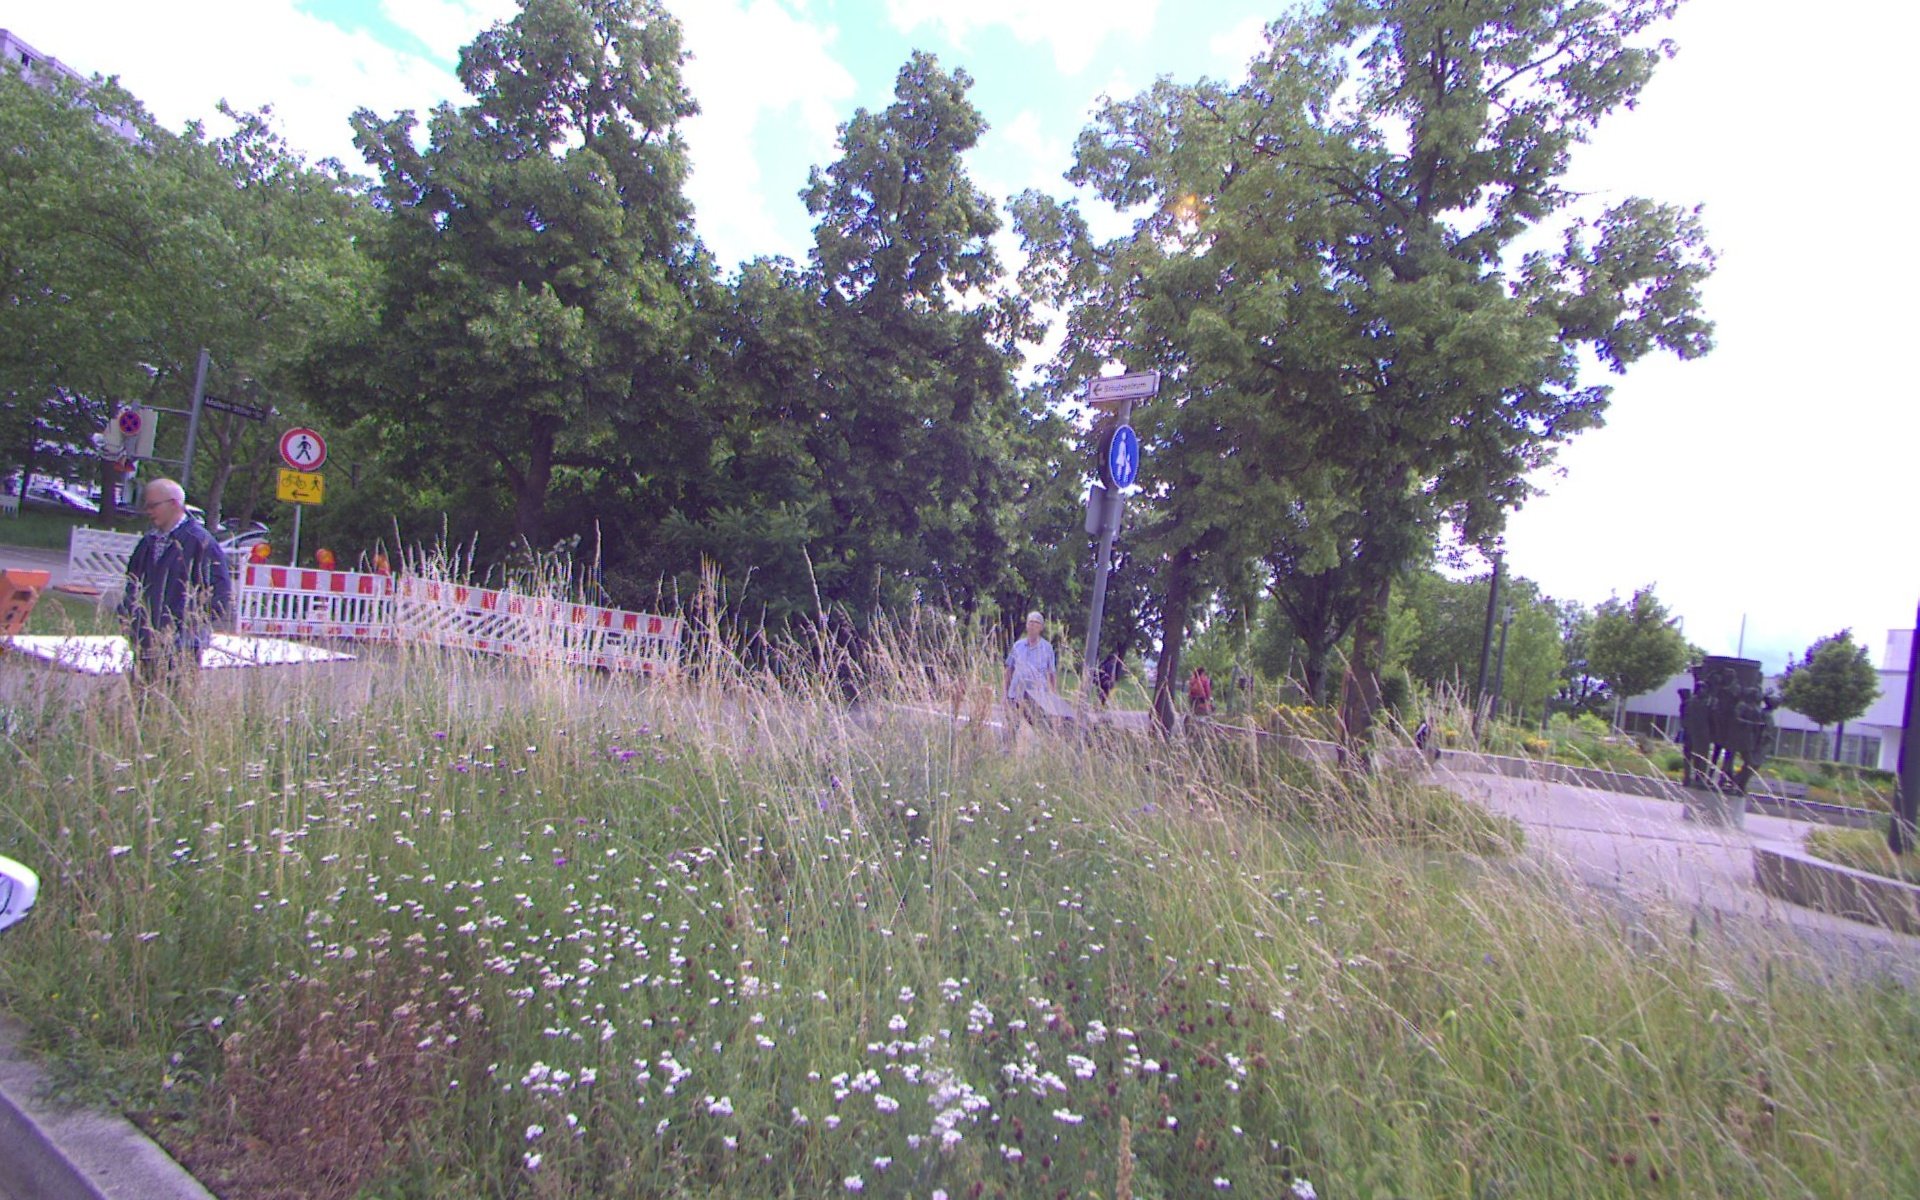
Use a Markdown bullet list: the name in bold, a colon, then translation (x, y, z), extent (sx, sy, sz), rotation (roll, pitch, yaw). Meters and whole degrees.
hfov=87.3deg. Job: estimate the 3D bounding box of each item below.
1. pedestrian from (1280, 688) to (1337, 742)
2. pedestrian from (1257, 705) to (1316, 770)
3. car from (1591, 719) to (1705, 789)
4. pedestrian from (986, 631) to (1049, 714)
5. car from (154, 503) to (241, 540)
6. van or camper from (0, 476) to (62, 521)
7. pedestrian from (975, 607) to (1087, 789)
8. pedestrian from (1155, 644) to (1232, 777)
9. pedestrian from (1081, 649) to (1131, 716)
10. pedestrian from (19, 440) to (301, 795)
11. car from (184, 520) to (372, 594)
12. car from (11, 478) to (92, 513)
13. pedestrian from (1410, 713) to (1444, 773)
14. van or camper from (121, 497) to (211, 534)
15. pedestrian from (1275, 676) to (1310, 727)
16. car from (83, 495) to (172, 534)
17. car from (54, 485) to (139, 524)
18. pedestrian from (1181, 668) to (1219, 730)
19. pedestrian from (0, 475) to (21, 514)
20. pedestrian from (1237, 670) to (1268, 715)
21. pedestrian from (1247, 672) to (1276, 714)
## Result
- **pedestrian**: translation (7.187, 2.366, 20.770), extent (0.703, 0.959, 0.747), rotation (8, -1, -21)
- **pedestrian**: translation (5.117, 2.136, 15.755), extent (0.685, 0.874, 0.651), rotation (7, 0, 28)
- **car**: translation (22.789, 5.068, 33.483), extent (1.606, 1.786, 3.509), rotation (7, -2, 9)
- **pedestrian**: translation (1.278, 1.601, 22.235), extent (0.974, 1.671, 0.871), rotation (7, 0, 21)
- **car**: translation (-44.633, -4.597, 58.897), extent (3.820, 1.482, 1.486), rotation (7, -1, 1)
- **van or camper**: translation (-44.304, -4.847, 46.498), extent (3.925, 1.704, 1.847), rotation (8, -1, 4)
- **pedestrian**: translation (0.765, 1.039, 10.784), extent (0.718, 1.812, 0.691), rotation (8, 0, 39)
- **pedestrian**: translation (3.249, 1.521, 13.983), extent (0.685, 1.715, 0.651), rotation (7, 0, 28)
- **pedestrian**: translation (3.958, 2.220, 27.197), extent (0.974, 1.671, 0.871), rotation (7, 0, 21)
- **pedestrian**: translation (-4.446, 0.103, 5.690), extent (0.716, 1.761, 0.954), rotation (8, -1, -12)
- **car**: translation (-21.126, -1.293, 31.351), extent (1.744, 1.604, 4.405), rotation (6, -2, 33)
- **car**: translation (-54.440, -6.248, 60.326), extent (3.345, 1.420, 1.486), rotation (7, -2, 1)
- **pedestrian**: translation (10.769, 3.280, 23.192), extent (0.560, 1.277, 0.582), rotation (7, -1, 29)
- **van or camper**: translation (-44.553, -4.733, 56.492), extent (3.706, 1.372, 1.519), rotation (8, -2, -1)
- **pedestrian**: translation (11.792, 3.585, 35.652), extent (0.974, 1.671, 0.871), rotation (7, 0, 21)
- **car**: translation (-43.769, -4.494, 52.940), extent (3.345, 1.420, 1.486), rotation (7, -2, 2)
- **car**: translation (-54.459, -5.990, 63.459), extent (3.751, 1.653, 1.674), rotation (9, -1, 1)
- **pedestrian**: translation (6.282, 2.590, 26.360), extent (0.624, 1.519, 0.704), rotation (7, 0, 29)
- **pedestrian**: translation (-53.074, -5.883, 55.978), extent (0.838, 2.025, 0.806), rotation (7, -1, 27)
- **pedestrian**: translation (11.931, 3.767, 41.051), extent (0.974, 1.671, 0.871), rotation (7, 0, 21)
- **pedestrian**: translation (13.122, 4.032, 43.770), extent (0.974, 1.671, 0.871), rotation (7, 0, 21)
